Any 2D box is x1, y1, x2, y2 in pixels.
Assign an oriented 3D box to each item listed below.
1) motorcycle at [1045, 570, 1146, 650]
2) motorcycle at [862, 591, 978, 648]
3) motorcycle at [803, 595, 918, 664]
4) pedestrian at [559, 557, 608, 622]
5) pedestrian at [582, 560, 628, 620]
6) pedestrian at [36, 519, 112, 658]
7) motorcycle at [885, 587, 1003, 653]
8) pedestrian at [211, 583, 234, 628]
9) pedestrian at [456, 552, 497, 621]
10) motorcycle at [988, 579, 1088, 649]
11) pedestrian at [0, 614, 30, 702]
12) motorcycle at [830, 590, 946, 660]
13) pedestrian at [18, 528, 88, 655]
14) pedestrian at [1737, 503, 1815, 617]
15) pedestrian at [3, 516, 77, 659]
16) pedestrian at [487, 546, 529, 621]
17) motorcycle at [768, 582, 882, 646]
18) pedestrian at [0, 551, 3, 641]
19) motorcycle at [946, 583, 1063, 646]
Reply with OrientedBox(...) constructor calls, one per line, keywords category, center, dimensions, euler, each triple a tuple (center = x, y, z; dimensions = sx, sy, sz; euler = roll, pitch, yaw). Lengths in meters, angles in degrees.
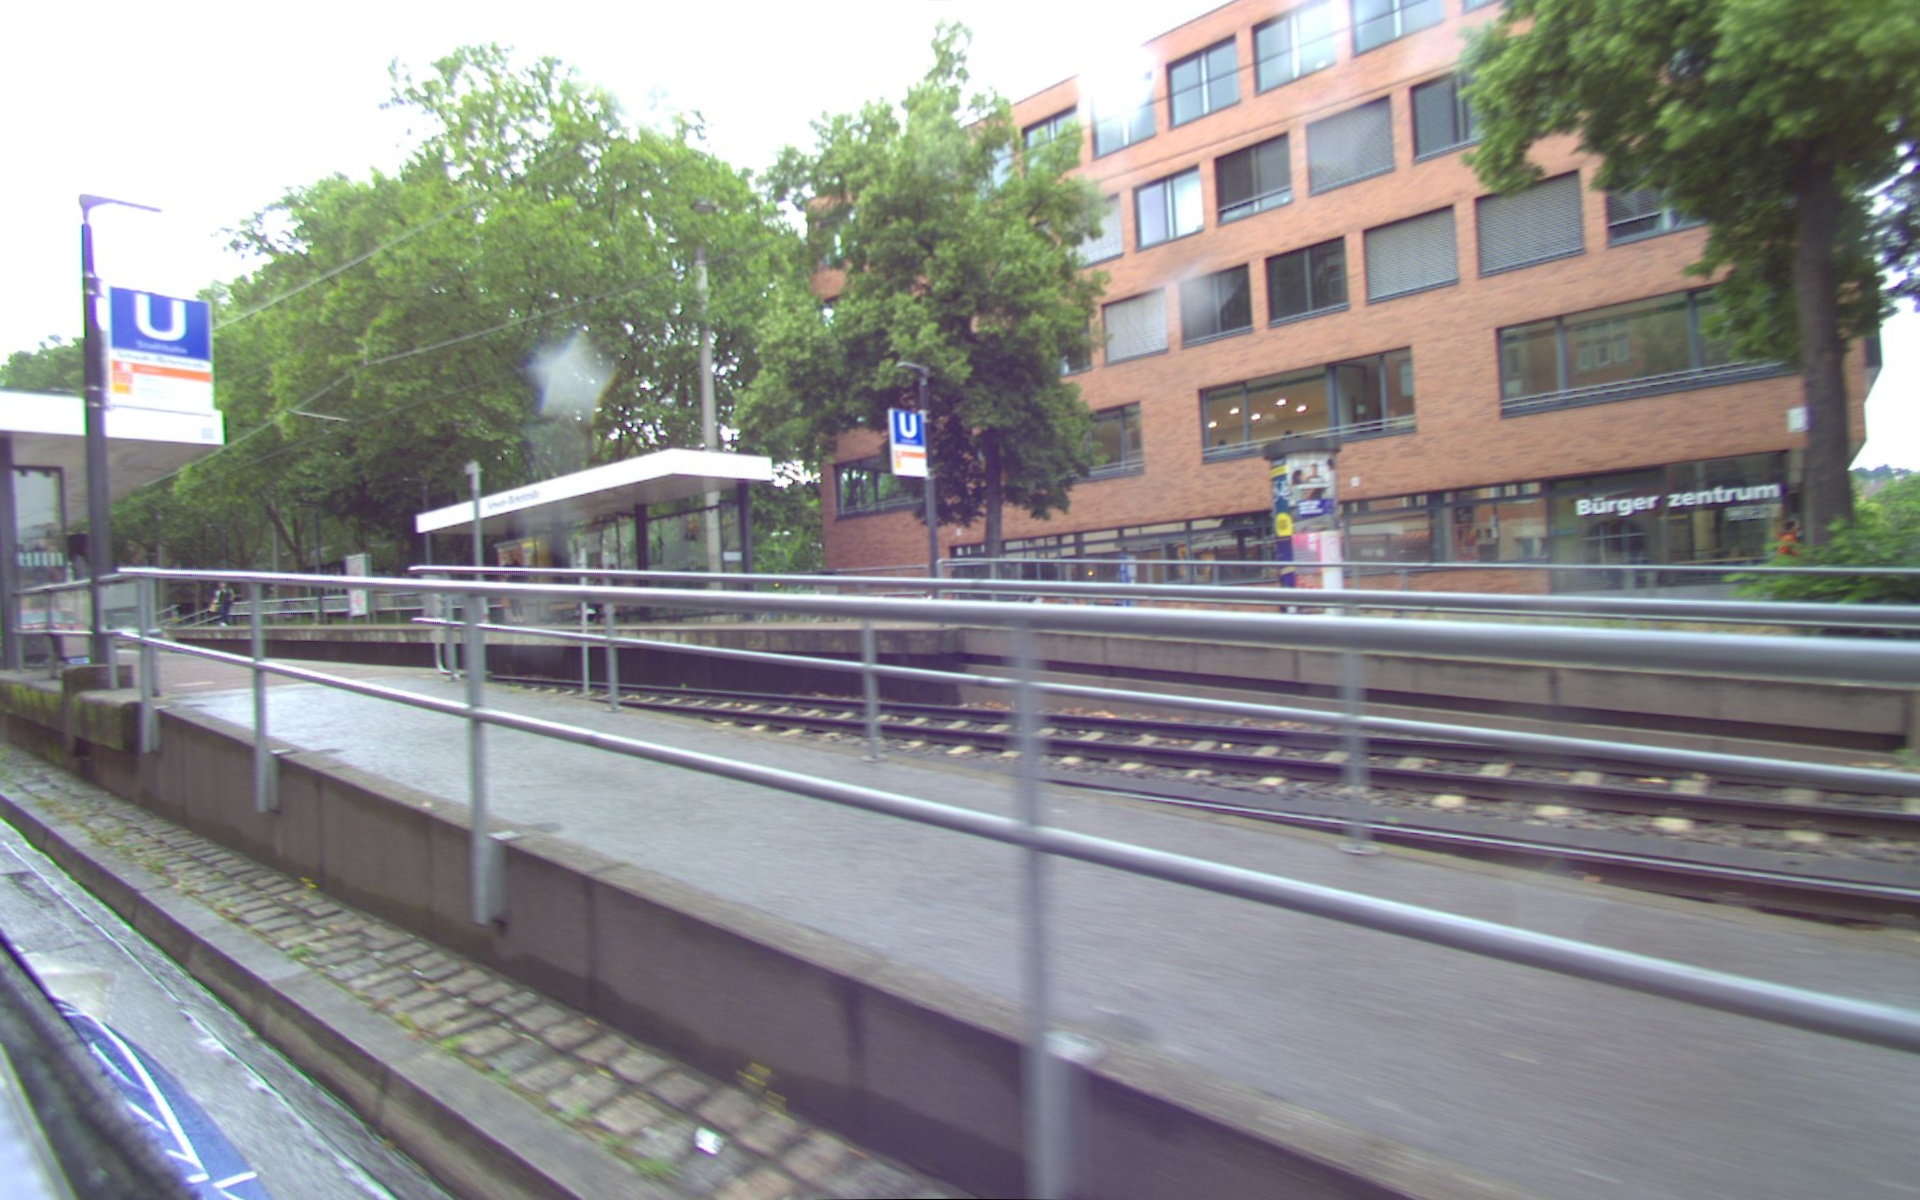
OrientedBox(category="motorcycle", center=(3.340, 0.199, 24.575), dimensions=(0.992, 1.829, 3.007), euler=(-2, 0, 38))
OrientedBox(category="motorcycle", center=(-1.056, 0.506, 28.567), dimensions=(1.005, 1.417, 3.827), euler=(-2, 1, 38))
OrientedBox(category="motorcycle", center=(-2.880, 0.823, 30.079), dimensions=(1.005, 1.829, 3.827), euler=(-2, 1, 38))
OrientedBox(category="pedestrian", center=(-8.245, -0.229, 22.159), dimensions=(0.563, 1.373, 0.770), euler=(-3, 0, 38))
OrientedBox(category="pedestrian", center=(-7.683, -0.215, 21.926), dimensions=(0.563, 1.249, 0.697), euler=(-3, 0, 38))
OrientedBox(category="pedestrian", center=(-10.549, -0.134, 12.052), dimensions=(0.507, 1.593, 0.607), euler=(-2, 0, 43))
OrientedBox(category="motorcycle", center=(-0.370, 0.503, 27.517), dimensions=(1.005, 1.617, 3.827), euler=(-2, 1, 38))
OrientedBox(category="pedestrian", center=(-27.718, 0.213, 38.048), dimensions=(0.556, 1.653, 0.689), euler=(-3, 0, -43))
OrientedBox(category="pedestrian", center=(-11.884, -0.336, 24.880), dimensions=(0.563, 1.653, 0.680), euler=(-3, 0, 38))
OrientedBox(category="motorcycle", center=(2.036, 0.327, 25.841), dimensions=(1.005, 1.640, 3.029), euler=(-2, 0, 38))
OrientedBox(category="pedestrian", center=(-13.811, 0.829, 14.532), dimensions=(0.507, 1.236, 0.607), euler=(-2, 0, 43))
OrientedBox(category="motorcycle", center=(-2.006, 0.682, 29.341), dimensions=(1.005, 1.829, 3.827), euler=(-2, 1, 38))
OrientedBox(category="pedestrian", center=(-11.688, -0.107, 13.043), dimensions=(0.507, 1.593, 0.607), euler=(-2, 0, 43))
OrientedBox(category="pedestrian", center=(15.082, -0.727, 18.736), dimensions=(0.977, 2.029, 0.727), euler=(-2, 0, 32))
OrientedBox(category="pedestrian", center=(-11.341, -0.153, 12.476), dimensions=(0.587, 1.701, 0.607), euler=(-2, 0, 43))
OrientedBox(category="pedestrian", center=(-10.707, -0.383, 23.974), dimensions=(0.705, 1.728, 0.557), euler=(-3, 0, 38))
OrientedBox(category="motorcycle", center=(-4.063, 0.390, 31.005), dimensions=(1.005, 1.787, 3.827), euler=(-2, 1, 38))
OrientedBox(category="pedestrian", center=(-17.311, -0.066, 17.855), dimensions=(0.489, 1.617, 0.638), euler=(-1, 0, -34))
OrientedBox(category="motorcycle", center=(1.236, 0.344, 26.656), dimensions=(1.005, 1.499, 3.827), euler=(-2, 1, 38))
